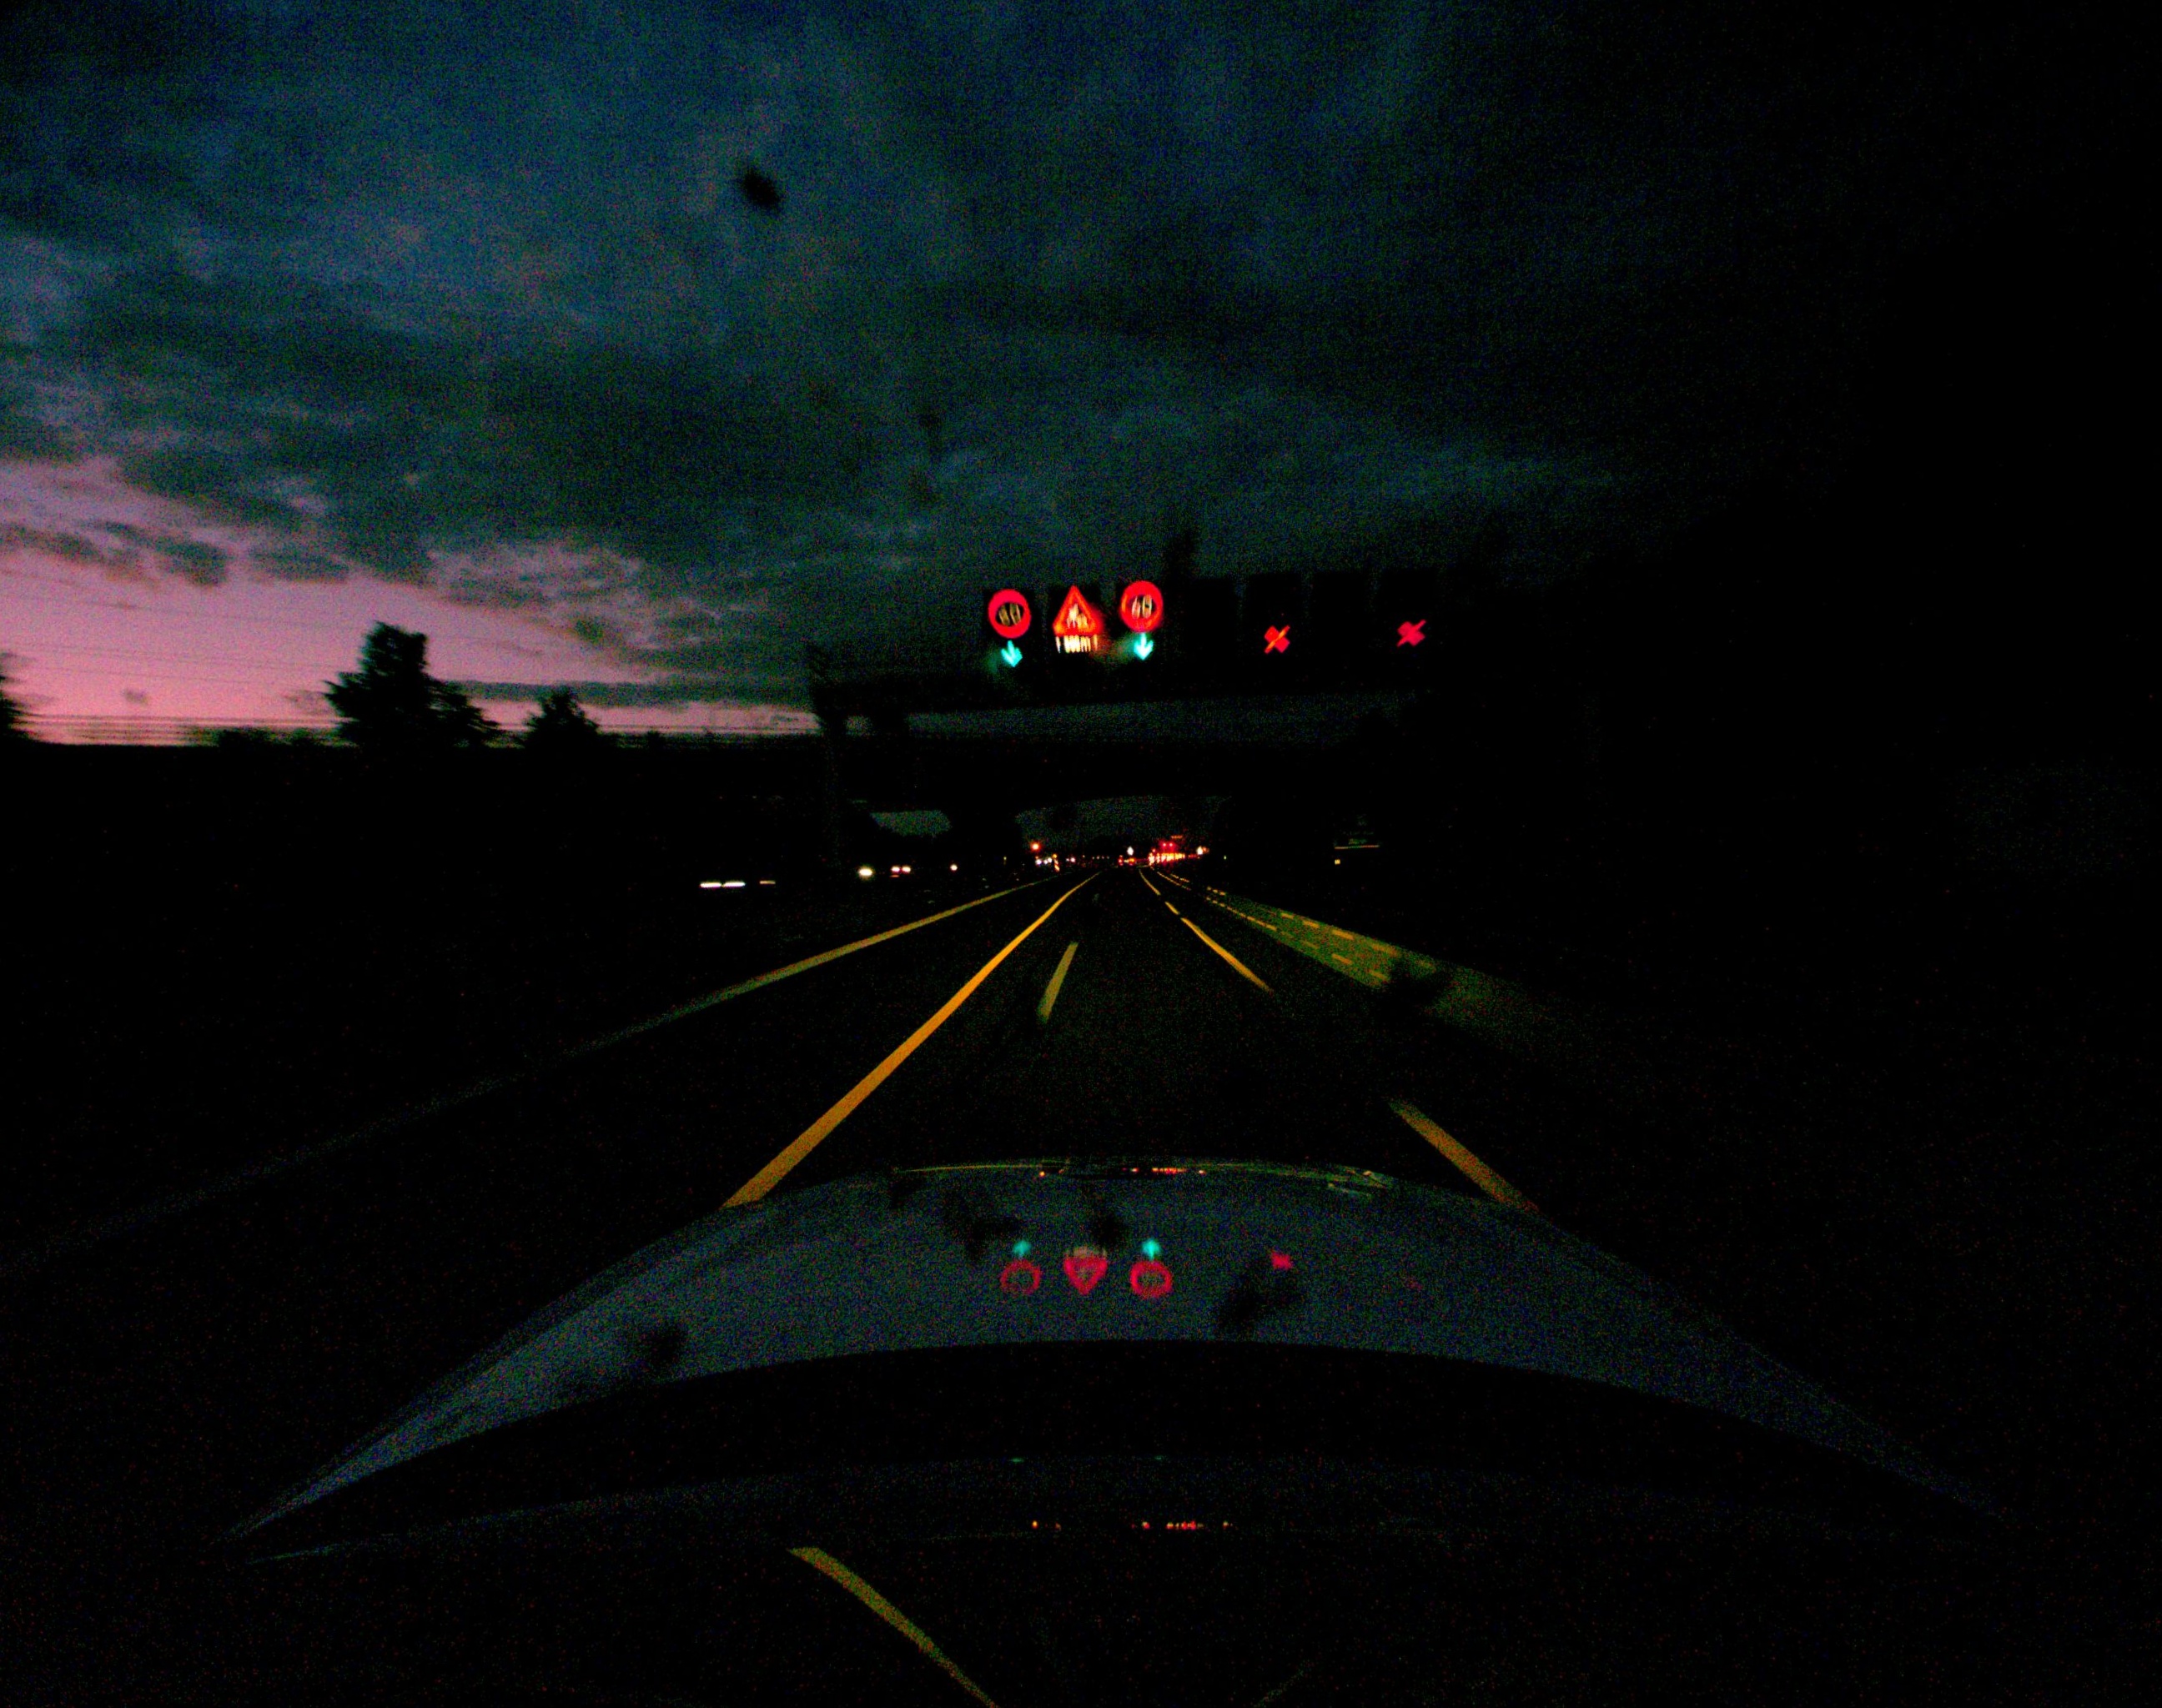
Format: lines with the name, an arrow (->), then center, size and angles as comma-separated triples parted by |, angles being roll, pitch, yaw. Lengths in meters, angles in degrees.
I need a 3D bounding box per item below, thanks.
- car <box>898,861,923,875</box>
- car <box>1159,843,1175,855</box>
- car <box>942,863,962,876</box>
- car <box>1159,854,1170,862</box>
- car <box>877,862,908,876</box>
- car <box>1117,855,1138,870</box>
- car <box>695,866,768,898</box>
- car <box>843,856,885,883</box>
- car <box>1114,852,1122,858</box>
car -> -18.862, 1.546, 90.288 | 1.988, 1.419, 3.998 | -2, 0, -1
car -> 23.698, -1.377, 225.207 | 3.592, 3.395, 8.016 | 0, 0, 1
car -> -14.901, 1.807, 94.274 | 1.620, 1.406, 3.523 | 0, 0, 3
car -> 15.137, 0.769, 147.956 | 1.962, 1.437, 4.006 | 0, 0, 5
car -> -18.781, 1.471, 81.207 | 1.986, 1.323, 4.001 | -2, 0, 1
car -> 5.129, 0.882, 88.994 | 2.256, 1.621, 4.003 | 0, 0, 3
car -> -19.607, 1.553, 45.913 | 1.986, 1.674, 4.585 | 0, 0, 2
car -> -17.965, 1.277, 67.618 | 1.986, 2.190, 4.804 | 0, 0, 2
car -> 11.459, 0.409, 252.823 | 1.982, 1.828, 4.009 | 0, 0, 8
